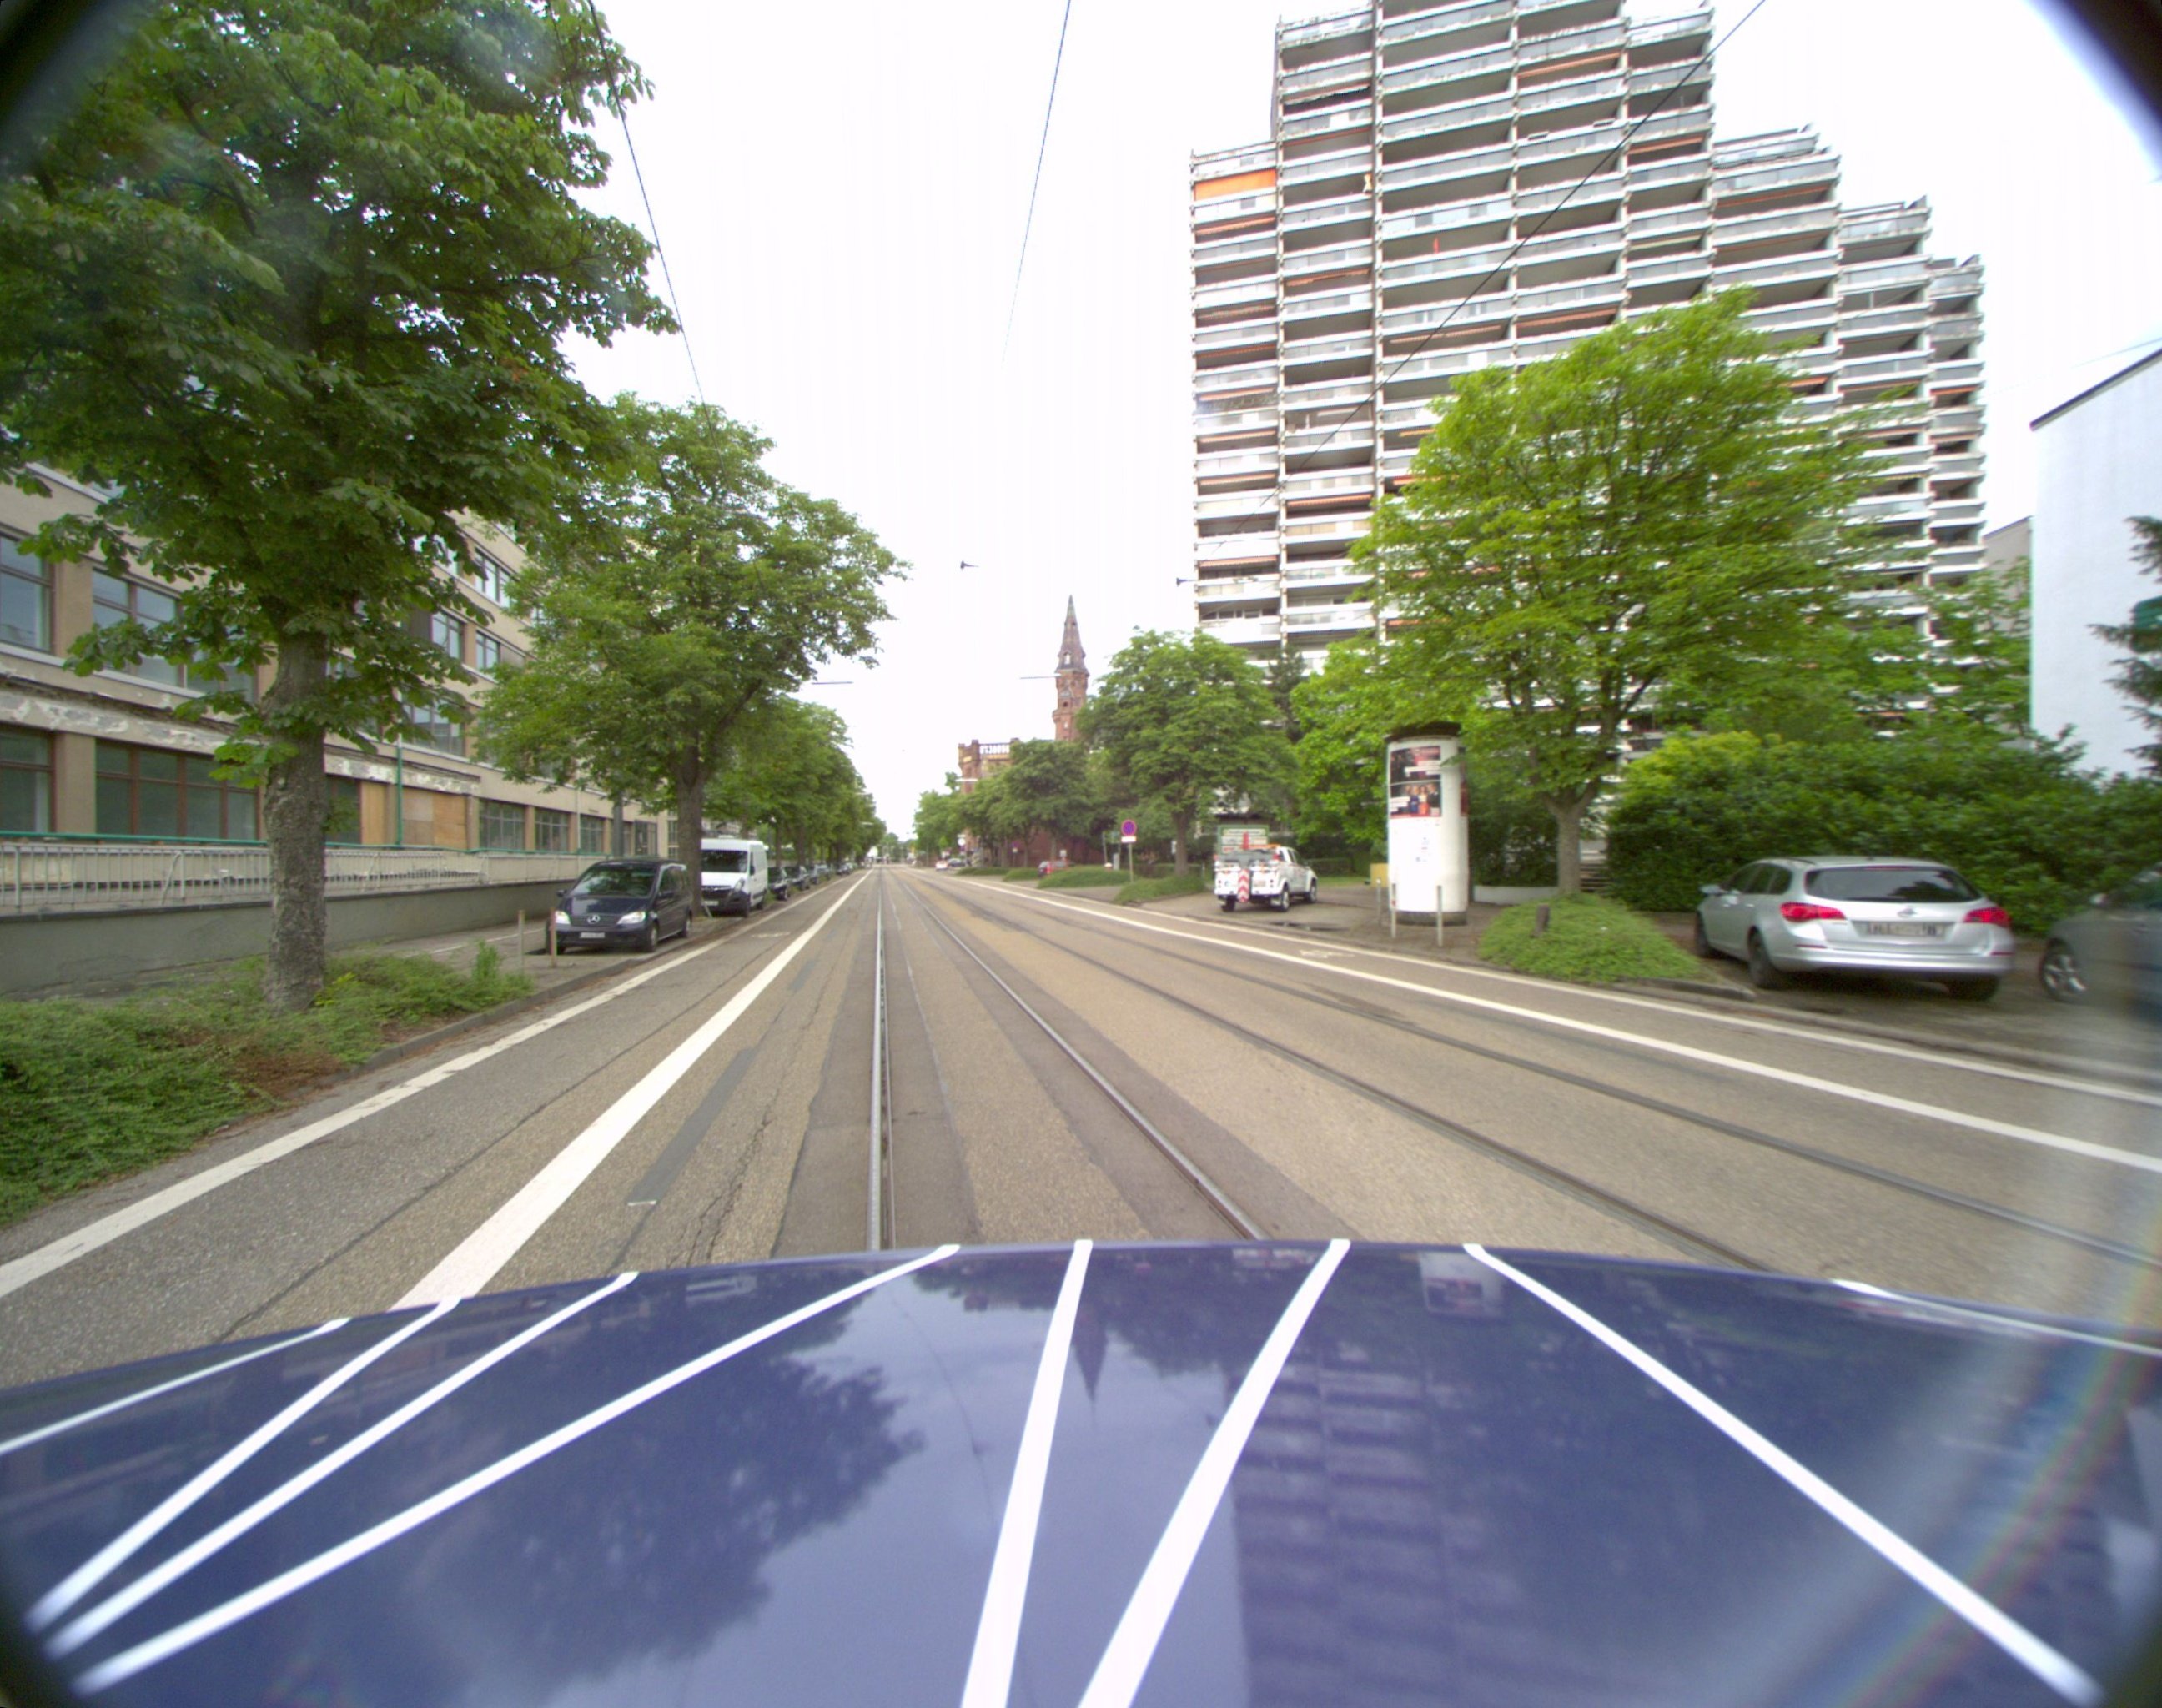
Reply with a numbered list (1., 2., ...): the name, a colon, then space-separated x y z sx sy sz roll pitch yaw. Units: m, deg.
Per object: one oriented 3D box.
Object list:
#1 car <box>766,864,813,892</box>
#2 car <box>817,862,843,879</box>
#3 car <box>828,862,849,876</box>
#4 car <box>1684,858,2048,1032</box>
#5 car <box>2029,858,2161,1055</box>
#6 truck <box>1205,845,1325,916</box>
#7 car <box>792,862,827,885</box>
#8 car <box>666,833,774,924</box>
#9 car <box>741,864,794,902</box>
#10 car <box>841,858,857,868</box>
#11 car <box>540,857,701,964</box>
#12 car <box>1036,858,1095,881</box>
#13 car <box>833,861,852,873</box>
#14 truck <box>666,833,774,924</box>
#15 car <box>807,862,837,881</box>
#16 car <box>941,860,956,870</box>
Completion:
1. car: -16.496 1.325 43.194 2.001 1.452 4.387 -1 0 -15
2. car: -23.512 1.542 71.252 2.001 1.452 4.387 -1 0 -15
3. car: -27.294 1.702 85.592 2.001 1.452 4.387 -1 0 -15
4. car: 8.907 0.833 9.175 1.799 1.456 4.440 -1 1 28
5. car: 9.409 0.837 5.794 1.568 1.515 3.658 -1 0 32
6. truck: 5.598 0.692 22.602 1.995 1.837 5.074 -1 0 31
7. car: -19.407 1.359 54.466 2.001 1.452 4.387 -1 0 -15
8. car: -11.533 0.702 24.741 2.120 2.587 5.485 -1 0 -15
9. car: -13.867 1.244 33.807 1.828 1.491 4.099 1 0 -18
10. car: -33.661 1.299 110.300 2.001 1.452 4.387 -1 0 -15
11. car: -9.025 1.000 15.275 1.660 1.802 4.079 1 0 -15
12. car: -0.996 0.974 49.967 3.508 1.369 1.631 -2 1 -28
13. car: -30.369 1.635 96.852 2.001 1.452 4.387 -1 0 -15
14. truck: -11.533 0.702 24.741 2.120 2.587 5.485 -1 0 -15
15. car: -21.598 1.436 63.443 2.001 1.452 4.387 -1 0 -15
16. car: -21.019 1.697 120.264 2.001 1.521 3.995 0 0 -15
